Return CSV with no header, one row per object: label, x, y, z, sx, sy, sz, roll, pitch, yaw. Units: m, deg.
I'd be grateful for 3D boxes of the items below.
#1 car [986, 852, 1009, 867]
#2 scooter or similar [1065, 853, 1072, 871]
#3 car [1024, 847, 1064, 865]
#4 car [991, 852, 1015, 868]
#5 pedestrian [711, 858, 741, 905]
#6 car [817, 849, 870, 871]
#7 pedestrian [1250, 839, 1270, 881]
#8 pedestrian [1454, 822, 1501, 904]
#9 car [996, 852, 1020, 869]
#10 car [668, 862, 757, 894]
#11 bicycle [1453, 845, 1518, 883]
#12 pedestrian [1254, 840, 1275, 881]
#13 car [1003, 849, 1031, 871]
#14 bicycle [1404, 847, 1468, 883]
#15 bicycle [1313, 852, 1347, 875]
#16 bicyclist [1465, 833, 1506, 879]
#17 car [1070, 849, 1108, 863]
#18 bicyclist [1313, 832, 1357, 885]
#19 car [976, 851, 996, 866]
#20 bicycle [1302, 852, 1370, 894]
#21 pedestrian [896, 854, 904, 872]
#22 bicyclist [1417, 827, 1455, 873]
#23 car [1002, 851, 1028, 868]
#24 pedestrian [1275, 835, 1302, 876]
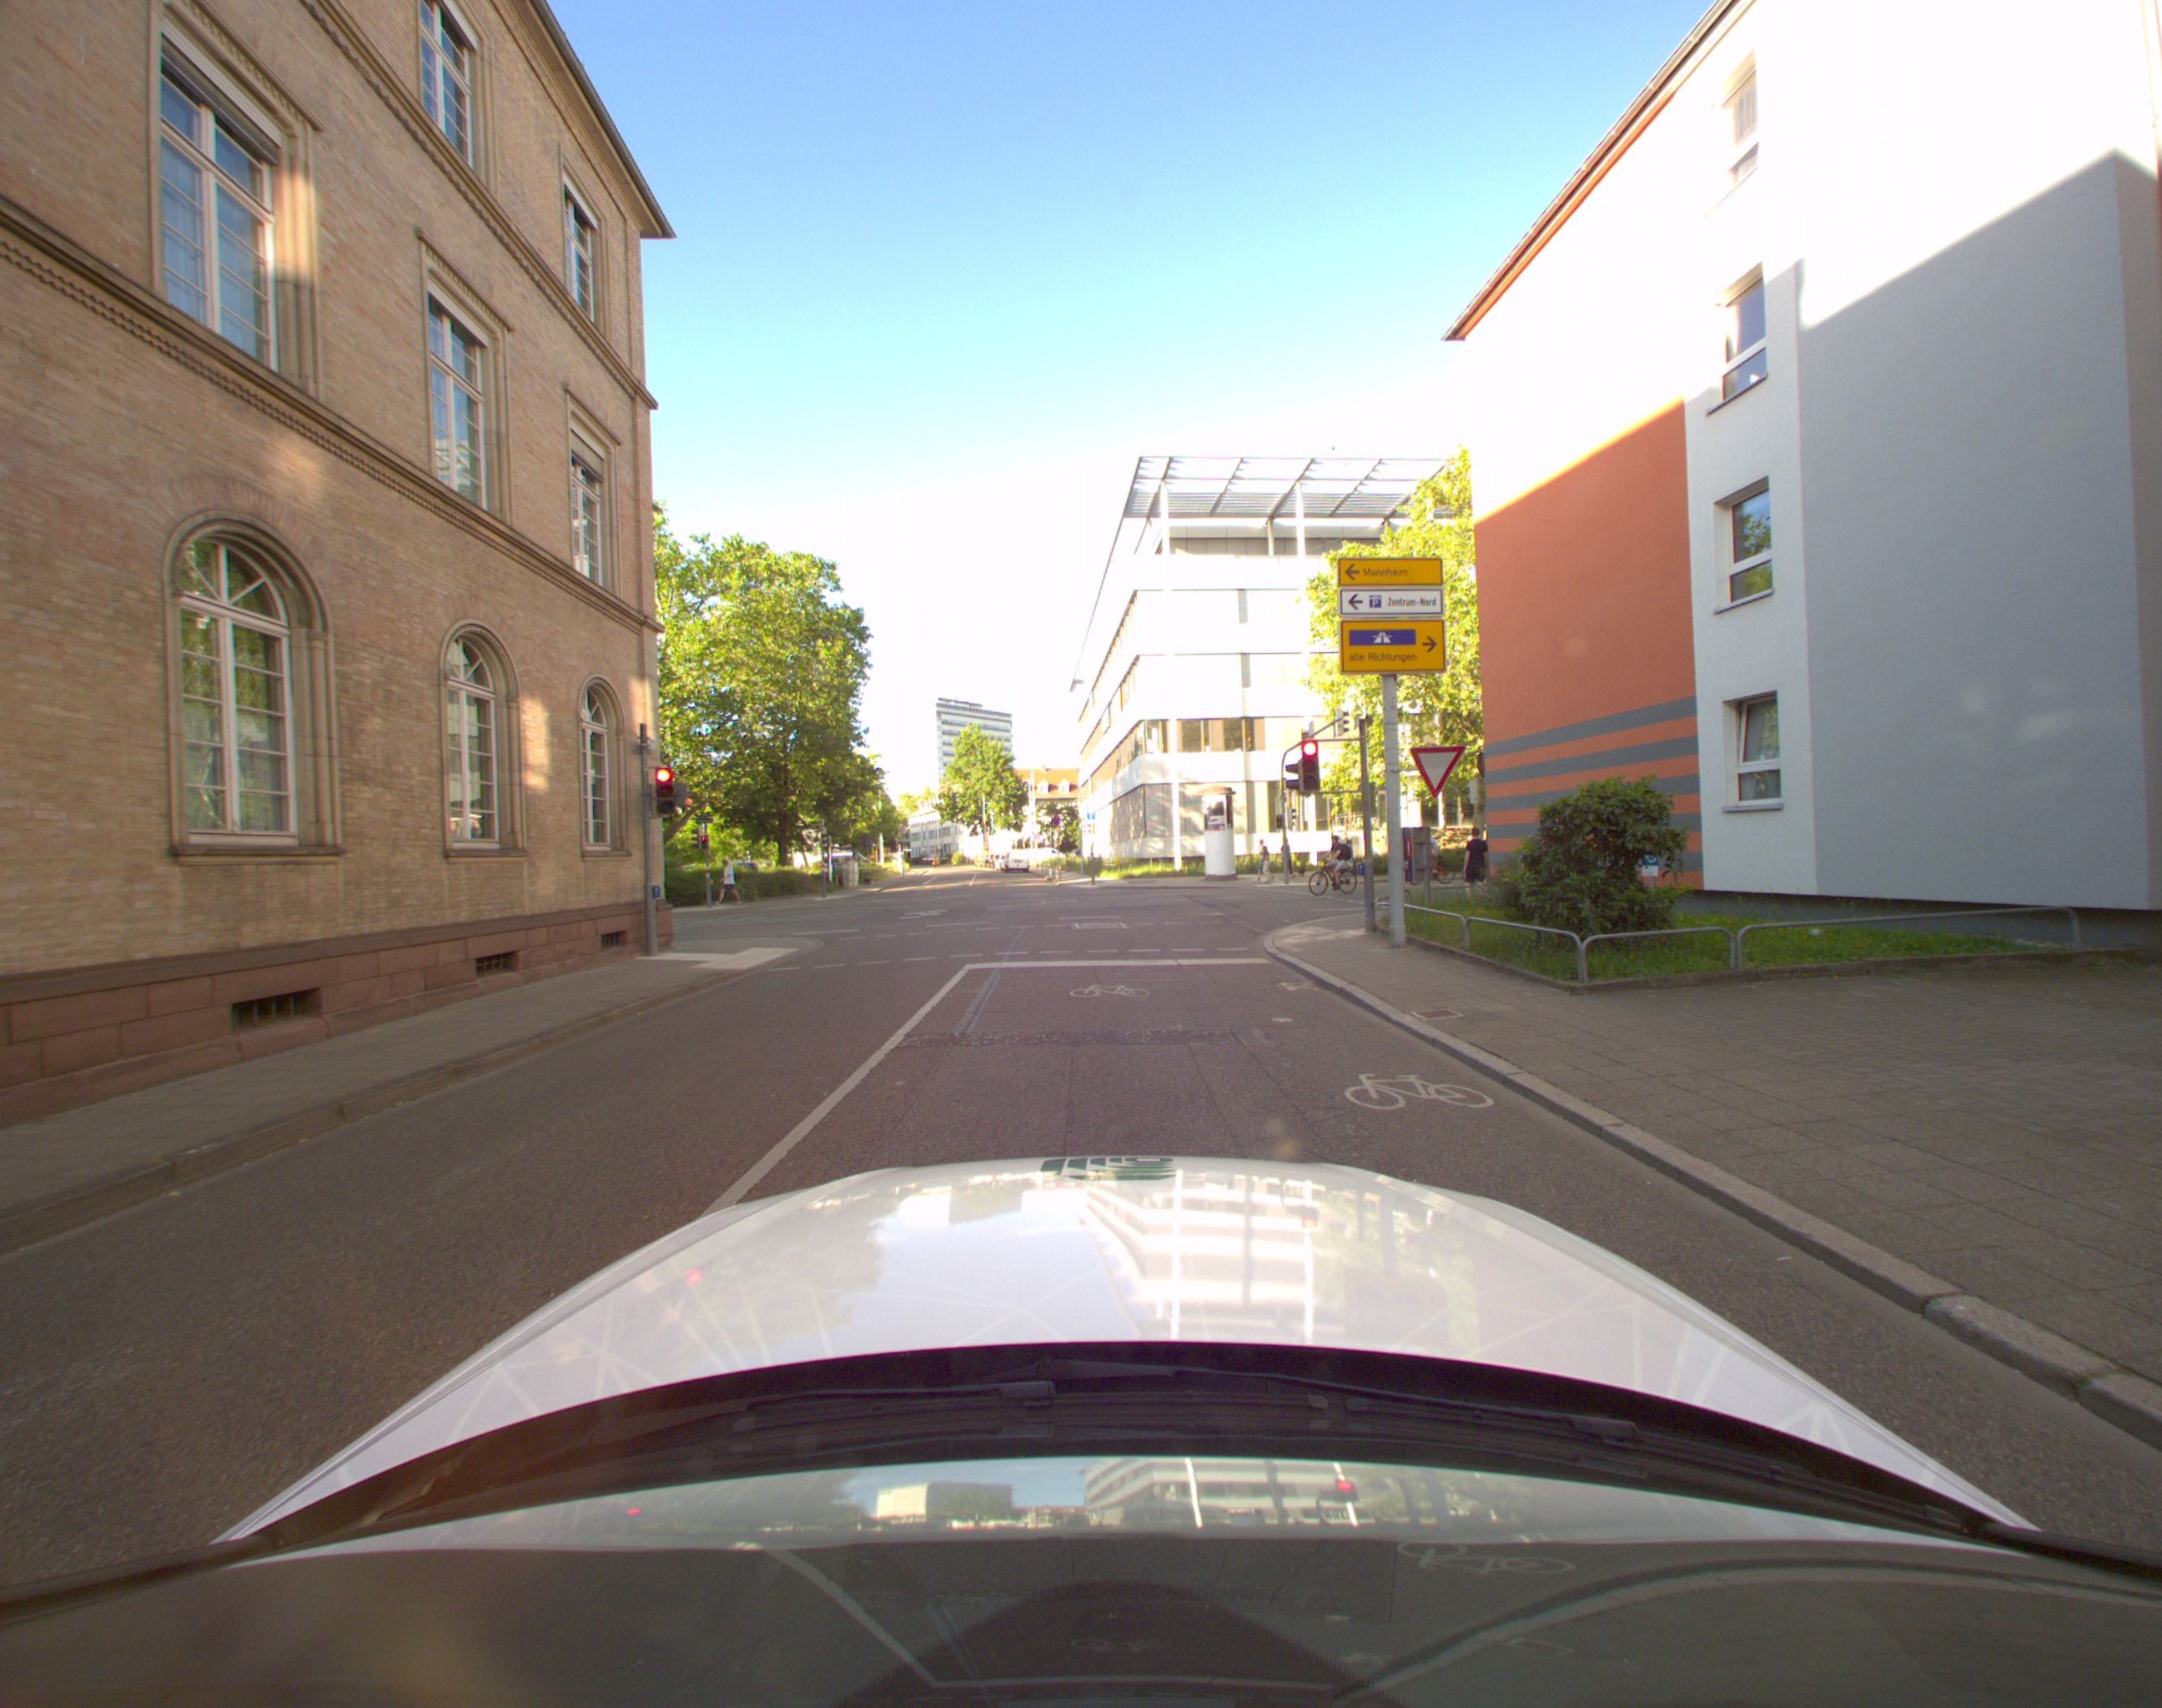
car,-8.885,0.593,86.369,1.994,1.499,4.635,0,-1,-10
scooter or similar,-0.915,0.581,58.465,0.436,1.256,1.418,-2,0,-2
car,-4.684,0.273,103.239,4.802,2.159,1.989,0,-1,-16
car,-7.844,0.587,81.616,1.994,1.499,4.270,0,-1,-11
pedestrian,-14.455,1.090,33.129,0.922,1.869,0.733,0,-1,-44
car,-22.026,0.537,75.758,4.441,2.014,1.995,0,-1,-8
pedestrian,7.728,0.253,35.192,0.761,1.795,0.649,0,-1,5
pedestrian,9.010,0.207,18.505,0.723,1.810,0.693,0,-1,-39
car,-6.921,0.610,77.142,1.993,1.499,4.638,0,-1,-8
car,-17.085,1.099,37.892,3.407,1.457,1.646,0,-1,-8
bicycle,13.070,0.330,26.321,1.772,1.152,0.627,-2,0,0
pedestrian,7.753,0.278,34.426,0.761,1.719,0.648,0,-1,4
car,-5.174,0.469,65.107,1.992,1.725,4.640,0,-1,-7
bicycle,12.271,0.362,28.131,1.962,1.152,0.626,-2,0,-9
bicycle,11.004,0.420,36.016,0.381,1.008,1.416,-2,0,-40
bicyclist,13.075,0.059,26.322,0.968,1.446,0.627,-2,0,0
car,1.022,0.254,104.945,4.644,1.725,1.990,0,-1,-15
bicyclist,7.586,0.118,24.296,1.079,1.527,0.588,-2,0,-21
car,-11.302,0.540,96.293,1.995,1.725,4.633,0,-1,-11
bicycle,7.609,0.545,24.288,1.971,1.152,0.588,-2,0,-21
pedestrian,-16.152,0.832,72.620,0.700,1.587,0.633,0,-1,-14
bicyclist,12.249,-0.145,28.132,0.915,1.522,0.702,-2,0,-8
car,-5.849,0.480,71.342,1.993,1.499,4.638,0,-1,-8
pedestrian,9.355,0.065,36.659,0.905,1.815,0.767,-1,-1,41
